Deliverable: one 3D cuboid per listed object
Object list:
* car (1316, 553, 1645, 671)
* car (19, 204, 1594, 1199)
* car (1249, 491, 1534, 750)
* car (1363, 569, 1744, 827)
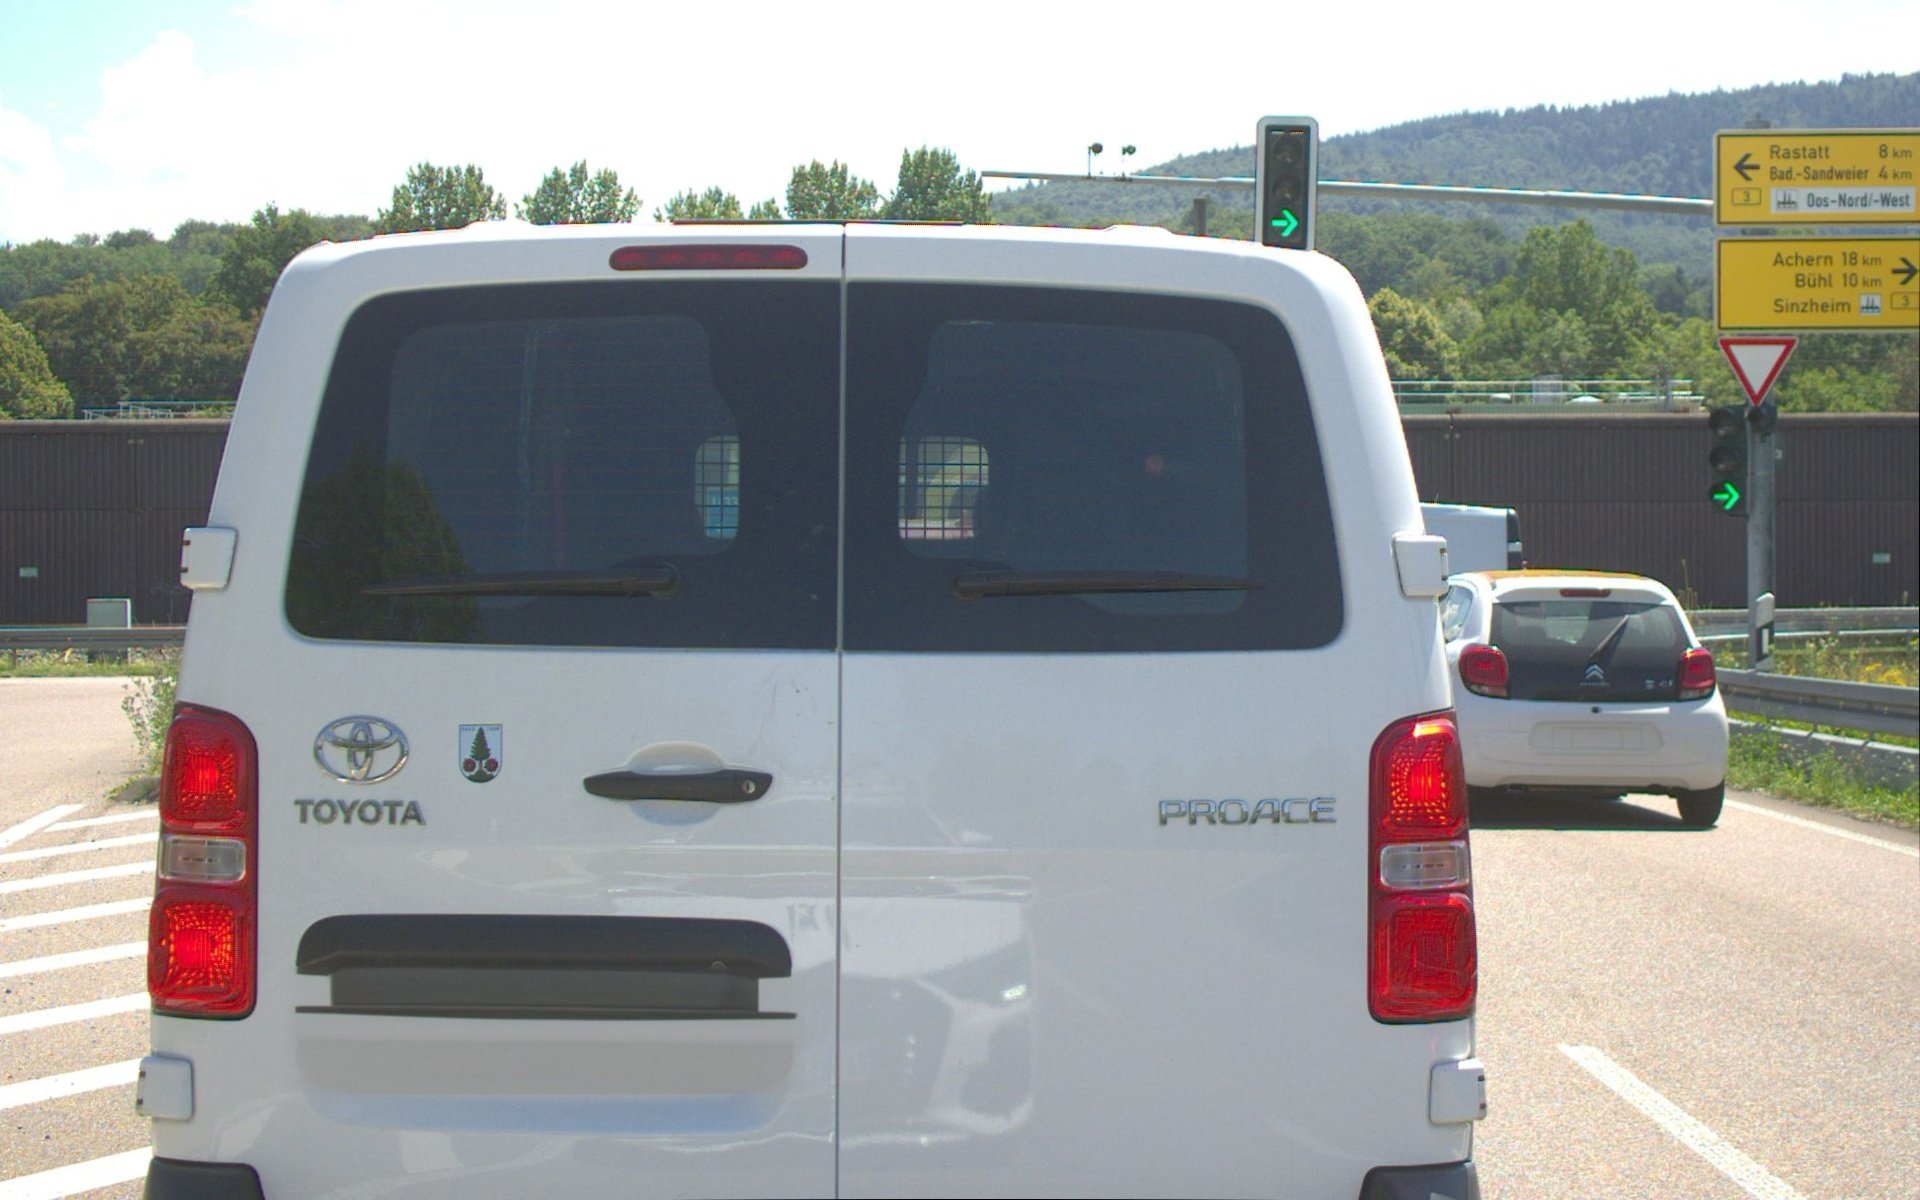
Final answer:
[{"bbox_3d":[7.440,0.163,49.369,4.309,1.651,2.000,0,1,-5],"label":"car"},{"bbox_3d":[-0.226,0.454,6.151,1.886,1.880,4.000,1,1,-1],"label":"car"},{"bbox_3d":[3.566,0.136,29.218,1.928,1.993,4.837,1,1,2],"label":"car"},{"bbox_3d":[3.516,0.534,20.908,1.656,1.426,3.366,1,1,-1],"label":"car"}]
